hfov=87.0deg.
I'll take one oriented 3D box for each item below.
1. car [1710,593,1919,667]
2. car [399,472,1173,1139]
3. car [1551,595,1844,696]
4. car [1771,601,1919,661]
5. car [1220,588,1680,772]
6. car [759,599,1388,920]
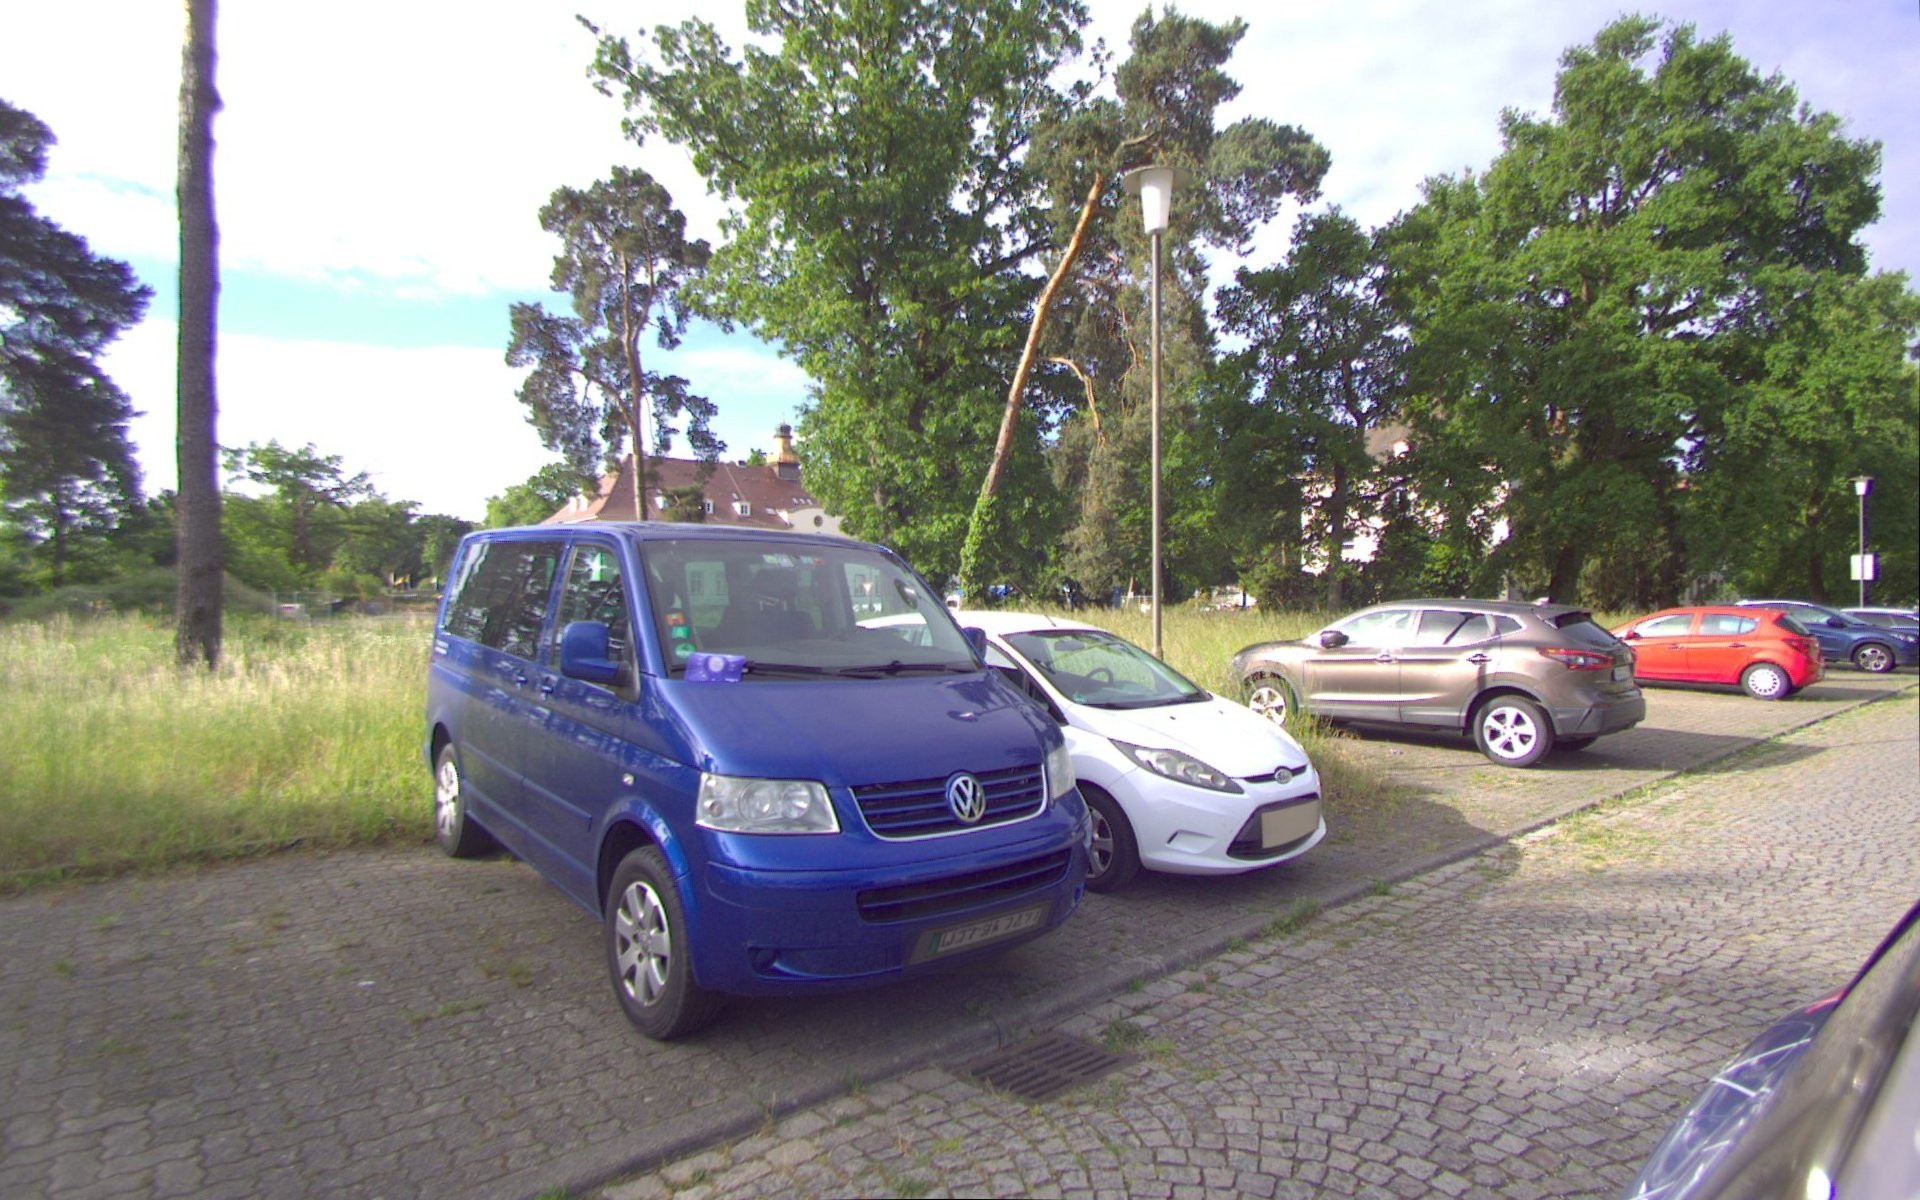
[{"bbox_3d":[20.622,0.644,24.141,1.716,1.589,4.133,-1,1,-40],"label":"car"},{"bbox_3d":[-1.381,0.525,5.408,1.957,1.952,4.742,-1,2,-40],"label":"car"},{"bbox_3d":[12.798,0.698,17.749,1.657,1.491,3.884,-1,1,-40],"label":"car"},{"bbox_3d":[24.322,0.786,26.905,1.750,1.469,4.036,-1,1,-37],"label":"car"},{"bbox_3d":[5.172,0.684,11.153,1.845,1.609,4.198,-1,1,-40],"label":"car"},{"bbox_3d":[0.500,0.765,7.005,1.778,1.488,4.194,-1,1,-43],"label":"car"}]
